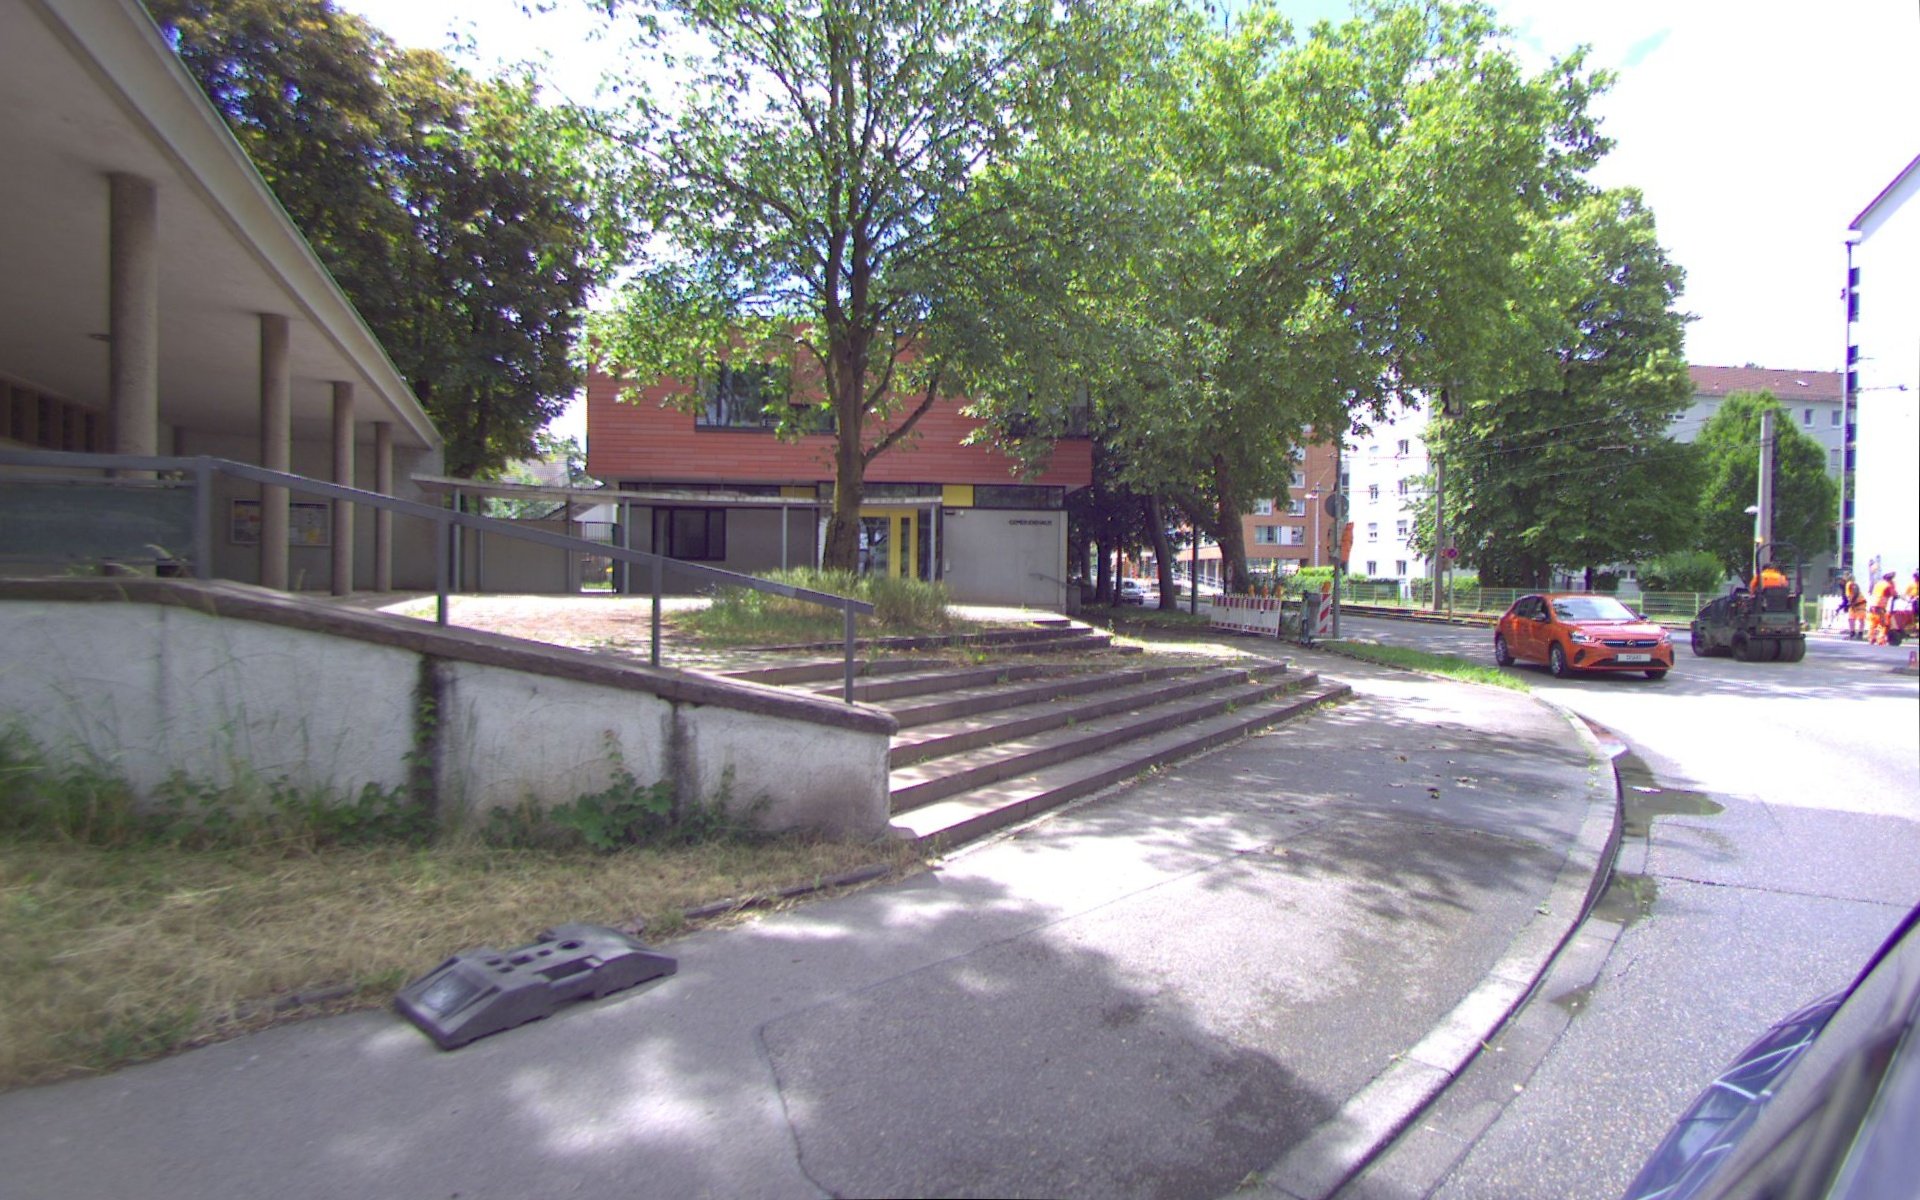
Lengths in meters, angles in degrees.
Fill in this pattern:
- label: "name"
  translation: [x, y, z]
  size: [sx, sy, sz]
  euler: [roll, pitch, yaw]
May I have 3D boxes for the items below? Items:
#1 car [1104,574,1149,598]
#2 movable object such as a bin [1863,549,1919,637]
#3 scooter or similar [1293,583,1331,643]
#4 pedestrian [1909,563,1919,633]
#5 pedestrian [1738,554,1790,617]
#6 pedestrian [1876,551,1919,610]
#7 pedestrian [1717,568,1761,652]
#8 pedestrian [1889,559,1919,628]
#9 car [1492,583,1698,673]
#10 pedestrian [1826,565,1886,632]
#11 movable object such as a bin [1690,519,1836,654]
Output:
- label: "car"
  translation: [9.735, -0.822, 59.403]
  size: [1.503, 1.335, 3.387]
  euler: [1, 1, -11]
- label: "movable object such as a bin"
  translation: [23.211, -0.138, 23.461]
  size: [1.965, 2.039, 2.964]
  euler: [1, 1, 5]
- label: "scooter or similar"
  translation: [7.580, 0.257, 21.846]
  size: [0.556, 1.247, 1.192]
  euler: [1, 1, 9]
- label: "pedestrian"
  translation: [24.339, -0.045, 25.060]
  size: [0.845, 1.738, 0.917]
  euler: [0, 0, 7]
- label: "pedestrian"
  translation: [16.000, -0.292, 20.147]
  size: [0.541, 1.232, 0.616]
  euler: [1, 1, 6]
- label: "pedestrian"
  translation: [27.365, -0.580, 29.550]
  size: [0.876, 1.704, 0.658]
  euler: [1, 1, 39]
- label: "pedestrian"
  translation: [16.145, 0.203, 20.982]
  size: [0.461, 1.703, 0.559]
  euler: [-1, 1, -1]
- label: "pedestrian"
  translation: [27.095, -0.190, 28.837]
  size: [0.877, 1.931, 0.657]
  euler: [1, 1, 42]
- label: "car"
  translation: [11.319, 0.438, 18.366]
  size: [1.741, 1.451, 3.829]
  euler: [-1, 0, 8]
- label: "pedestrian"
  translation: [23.579, -0.047, 26.646]
  size: [0.739, 1.738, 0.918]
  euler: [0, 0, 1]
- label: "movable object such as a bin"
  translation: [16.470, -0.279, 20.873]
  size: [1.298, 2.626, 2.358]
  euler: [0, 1, 7]
